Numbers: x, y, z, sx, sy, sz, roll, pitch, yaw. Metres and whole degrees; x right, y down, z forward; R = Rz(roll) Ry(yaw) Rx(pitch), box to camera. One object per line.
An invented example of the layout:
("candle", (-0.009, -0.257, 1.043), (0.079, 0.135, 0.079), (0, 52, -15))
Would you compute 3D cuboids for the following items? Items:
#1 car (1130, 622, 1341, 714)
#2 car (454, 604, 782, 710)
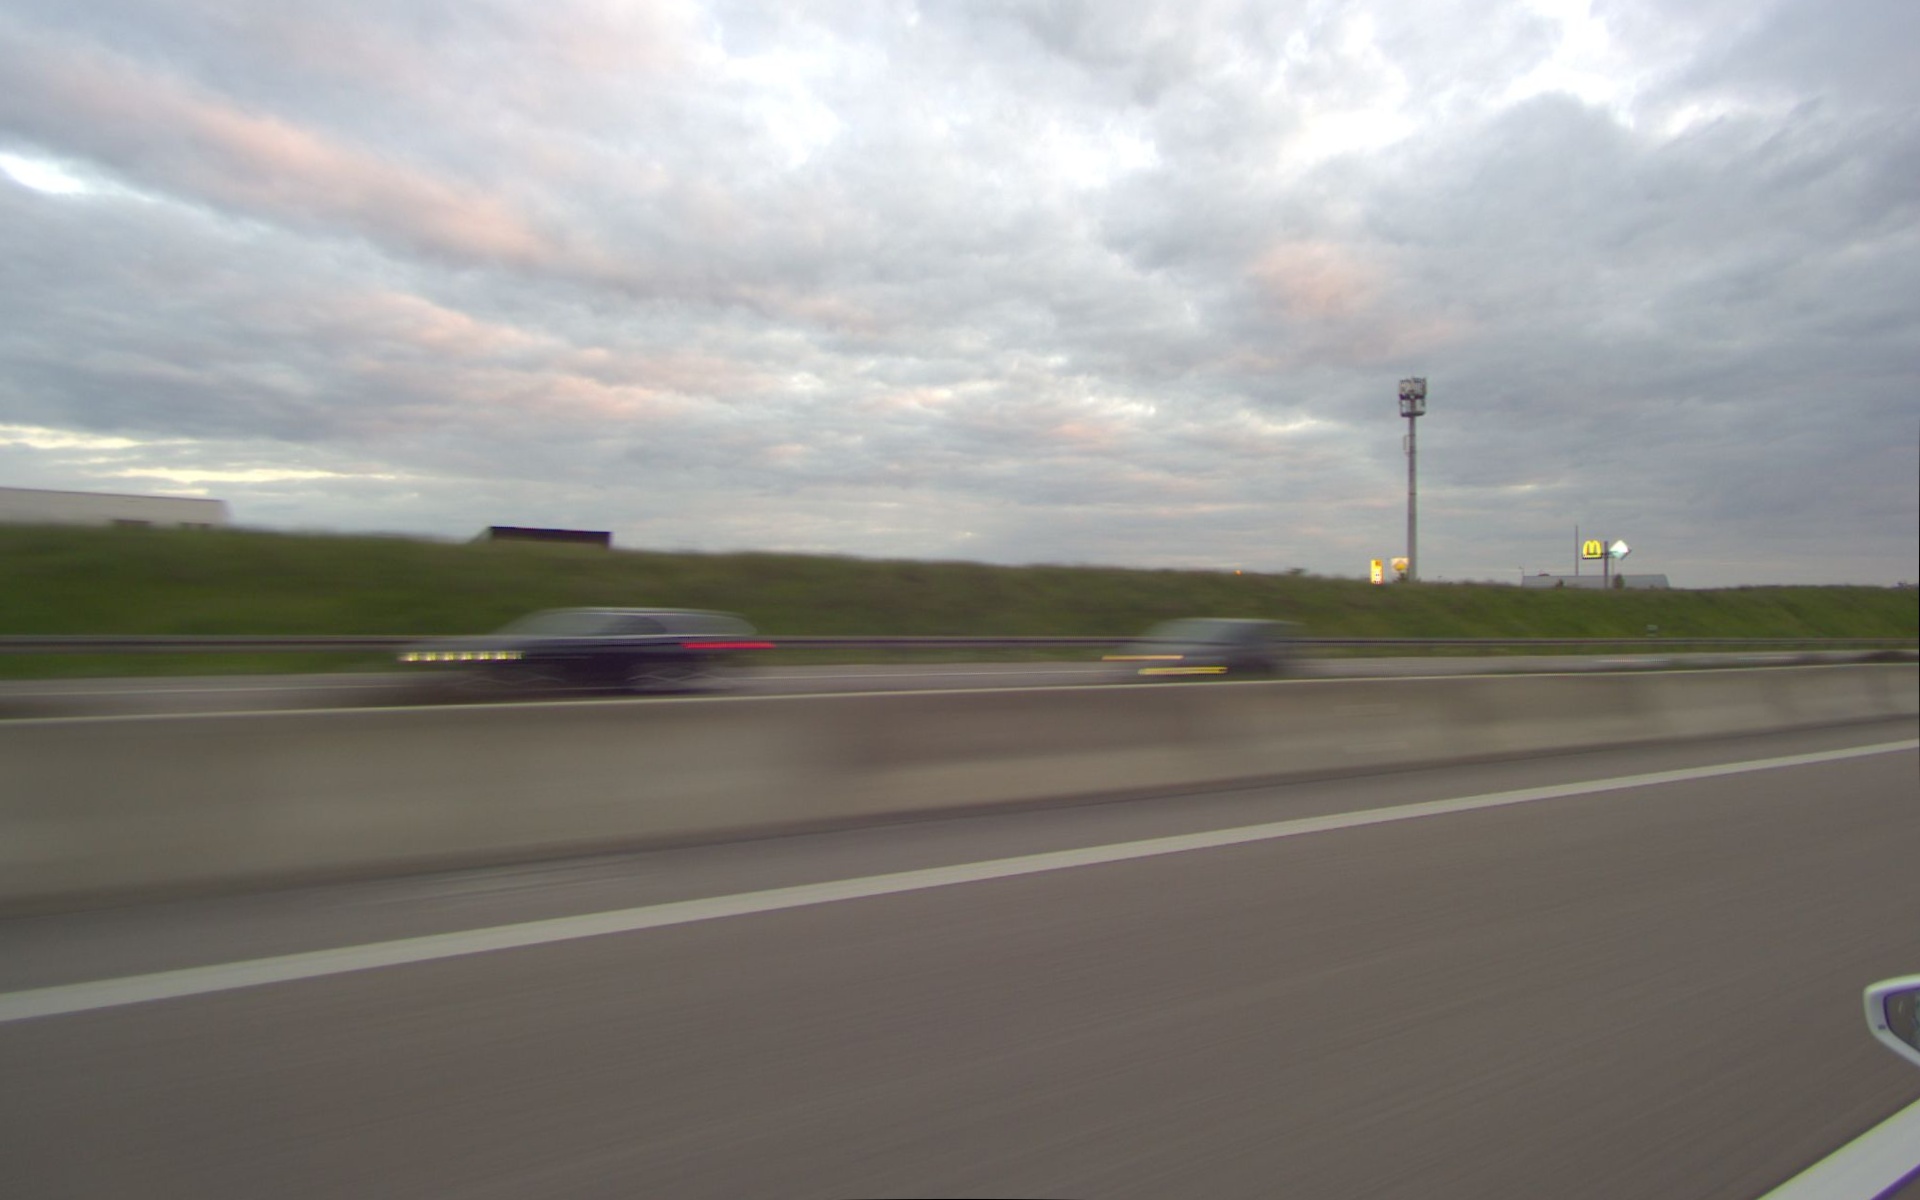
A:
("car", (5.559, 1.326, 20.192), (3.952, 1.650, 1.811), (2, -1, -30))
("car", (-5.911, 0.947, 17.615), (5.141, 1.623, 1.983), (2, -1, -31))
